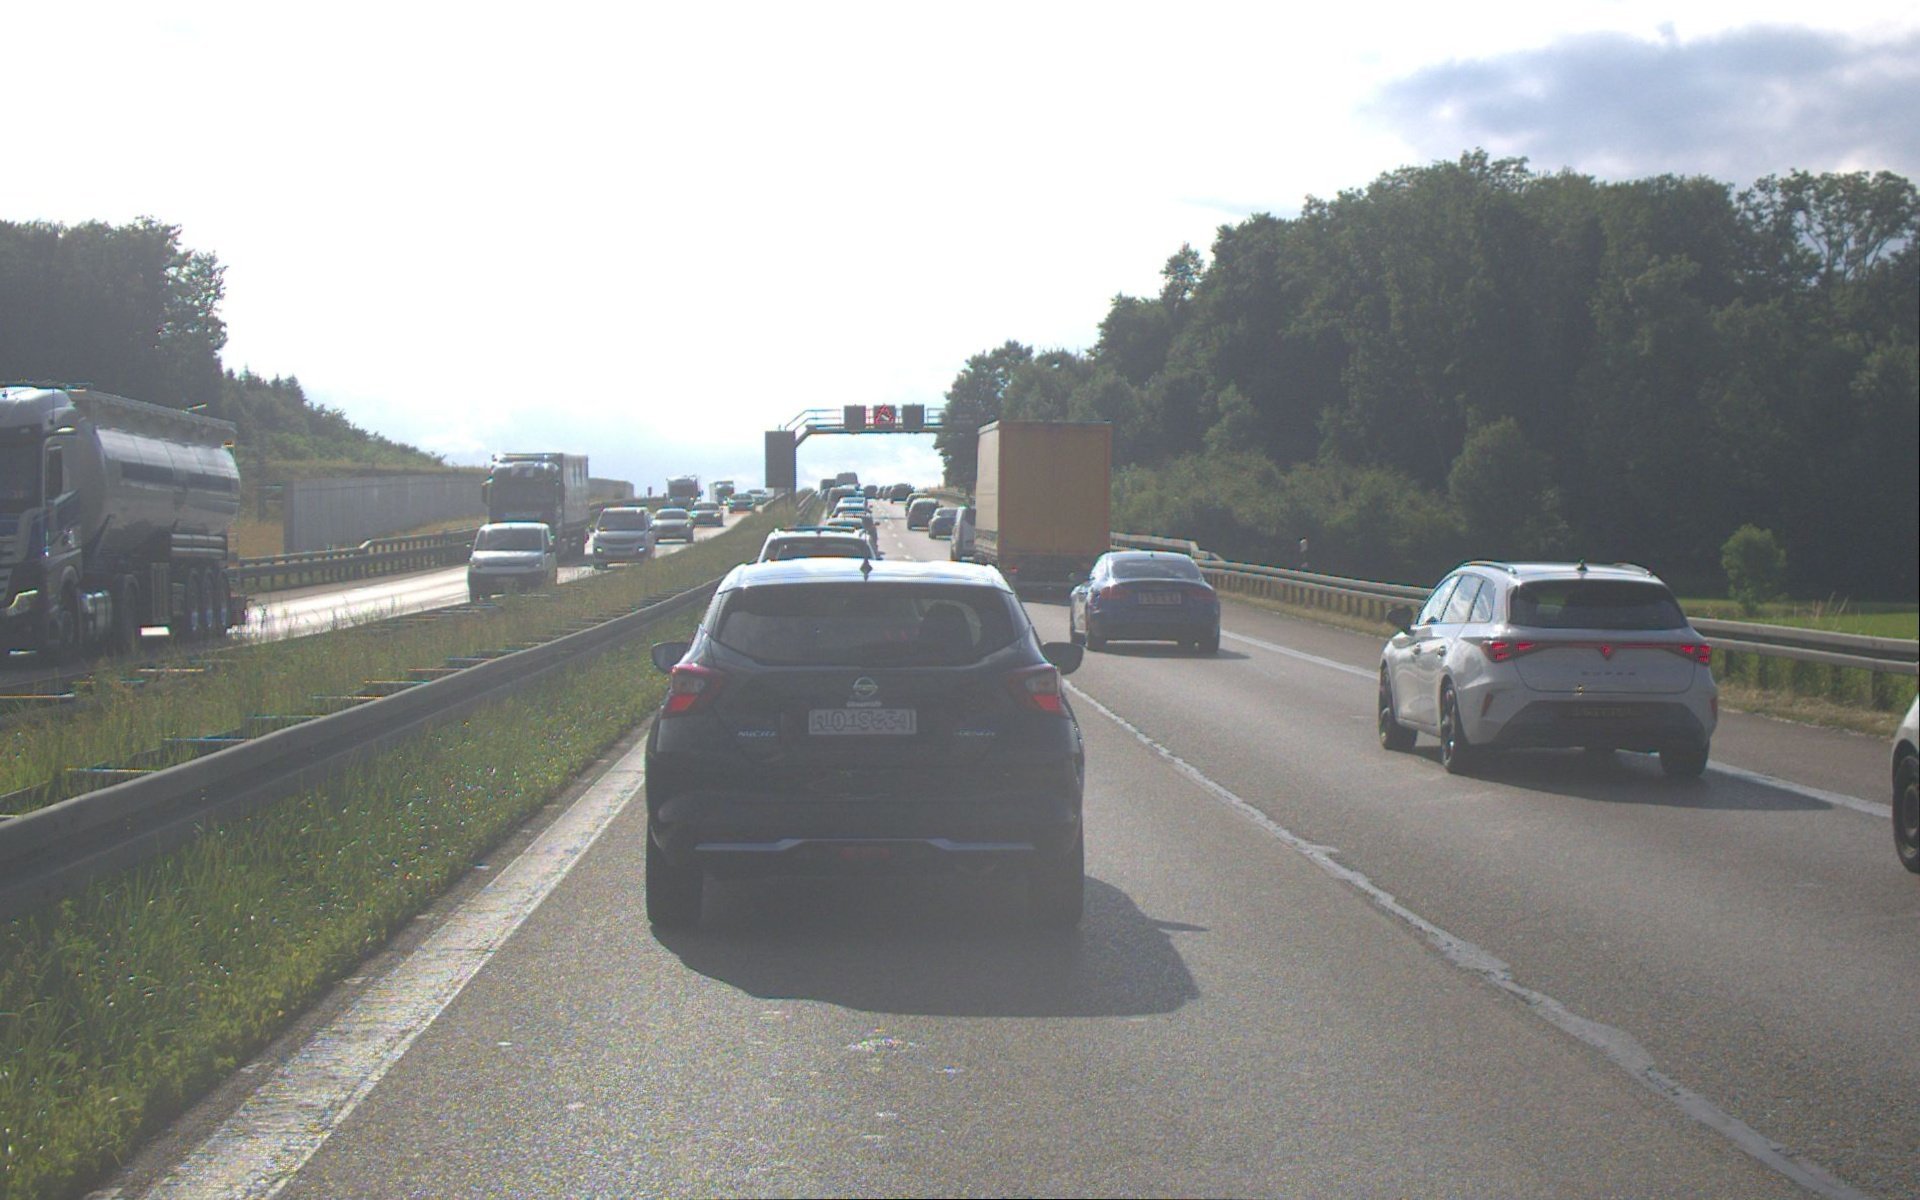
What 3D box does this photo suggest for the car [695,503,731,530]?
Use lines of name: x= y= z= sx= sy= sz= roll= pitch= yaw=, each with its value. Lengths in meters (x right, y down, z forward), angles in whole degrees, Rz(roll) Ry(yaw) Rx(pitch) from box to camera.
car: x=-13.955 y=-4.705 z=194.356 sx=1.902 sy=1.459 sz=4.184 roll=1 pitch=0 yaw=-2

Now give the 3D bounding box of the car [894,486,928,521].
car: x=-3.028 y=-5.968 z=212.964 sx=1.993 sy=2.007 sz=4.000 roll=1 pitch=0 yaw=-2

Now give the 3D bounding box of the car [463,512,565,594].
car: x=-10.319 y=-1.087 z=79.735 sx=1.860 sy=1.827 sz=4.281 roll=1 pitch=0 yaw=-1

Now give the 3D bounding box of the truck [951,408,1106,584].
truck: x=1.717 y=-2.634 z=89.751 sx=3.581 sy=4.365 sz=6.689 roll=1 pitch=0 yaw=-2

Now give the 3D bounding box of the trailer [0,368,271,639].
trailer: x=-13.379 y=-1.384 z=54.371 sx=2.540 sy=3.758 sz=12.542 roll=-1 pitch=0 yaw=-1

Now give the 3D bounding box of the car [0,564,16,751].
car: x=-8.632 y=0.465 z=25.863 sx=1.803 sy=1.511 sz=4.691 roll=1 pitch=0 yaw=-1

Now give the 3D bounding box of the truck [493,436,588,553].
truck: x=-15.210 y=-3.772 z=125.065 sx=2.754 sy=4.076 sz=6.954 roll=0 pitch=0 yaw=-1

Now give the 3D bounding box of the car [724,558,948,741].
car: x=-0.953 y=0.359 z=27.708 sx=1.674 sy=1.362 sz=3.596 roll=1 pitch=0 yaw=-1

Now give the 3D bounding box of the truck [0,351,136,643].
truck: x=-13.284 y=-1.340 z=47.352 sx=2.552 sy=3.785 sz=5.417 roll=-1 pitch=0 yaw=-1

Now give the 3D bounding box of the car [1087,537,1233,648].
car: x=2.770 y=-0.121 z=48.320 sx=1.747 sy=1.470 sz=4.147 roll=1 pitch=0 yaw=-1

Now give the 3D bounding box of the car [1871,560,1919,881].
car: x=5.310 y=0.599 z=15.093 sx=1.548 sy=1.490 sz=3.378 roll=1 pitch=1 yaw=-3

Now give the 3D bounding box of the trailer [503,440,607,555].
trailer: x=-15.416 y=-3.821 z=131.650 sx=2.759 sy=4.101 sz=12.905 roll=0 pitch=0 yaw=-1

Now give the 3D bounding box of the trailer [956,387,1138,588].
trailer: x=1.937 y=-2.572 z=83.174 sx=3.548 sy=4.442 sz=12.723 roll=1 pitch=0 yaw=-2

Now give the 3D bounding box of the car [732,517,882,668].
car: x=-1.816 y=-0.099 z=41.583 sx=1.674 sy=1.720 sz=3.596 roll=1 pitch=0 yaw=-1

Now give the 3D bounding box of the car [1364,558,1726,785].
car: x=4.009 y=0.446 z=24.186 sx=1.620 sy=1.441 sz=4.147 roll=1 pitch=0 yaw=-3

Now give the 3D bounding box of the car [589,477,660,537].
car: x=-11.299 y=-3.111 z=115.963 sx=1.993 sy=1.877 sz=4.787 roll=-2 pitch=0 yaw=-1

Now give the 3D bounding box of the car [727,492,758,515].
car: x=-15.051 y=-6.682 z=237.896 sx=1.993 sy=1.428 sz=4.449 roll=1 pitch=0 yaw=-2

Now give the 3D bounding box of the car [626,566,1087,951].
car: x=-0.389 y=0.582 z=14.569 sx=1.710 sy=1.421 sz=3.378 roll=1 pitch=0 yaw=0

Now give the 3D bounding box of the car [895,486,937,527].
car: x=-2.292 y=-4.811 z=177.988 sx=1.993 sy=2.007 sz=4.000 roll=1 pitch=0 yaw=-2

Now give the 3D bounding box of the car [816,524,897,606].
car: x=-2.678 y=-0.896 z=87.922 sx=1.993 sy=2.007 sz=4.000 roll=1 pitch=0 yaw=-2

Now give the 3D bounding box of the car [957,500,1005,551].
car: x=0.746 y=-2.654 z=122.831 sx=1.667 sy=1.749 sz=3.327 roll=1 pitch=0 yaw=0

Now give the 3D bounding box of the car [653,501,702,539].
car: x=-12.701 y=-3.585 z=154.763 sx=1.888 sy=1.626 sz=5.111 roll=1 pitch=0 yaw=-2

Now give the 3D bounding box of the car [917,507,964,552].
car: x=-0.920 y=-3.245 z=158.552 sx=1.993 sy=2.007 sz=4.000 roll=1 pitch=0 yaw=-2
